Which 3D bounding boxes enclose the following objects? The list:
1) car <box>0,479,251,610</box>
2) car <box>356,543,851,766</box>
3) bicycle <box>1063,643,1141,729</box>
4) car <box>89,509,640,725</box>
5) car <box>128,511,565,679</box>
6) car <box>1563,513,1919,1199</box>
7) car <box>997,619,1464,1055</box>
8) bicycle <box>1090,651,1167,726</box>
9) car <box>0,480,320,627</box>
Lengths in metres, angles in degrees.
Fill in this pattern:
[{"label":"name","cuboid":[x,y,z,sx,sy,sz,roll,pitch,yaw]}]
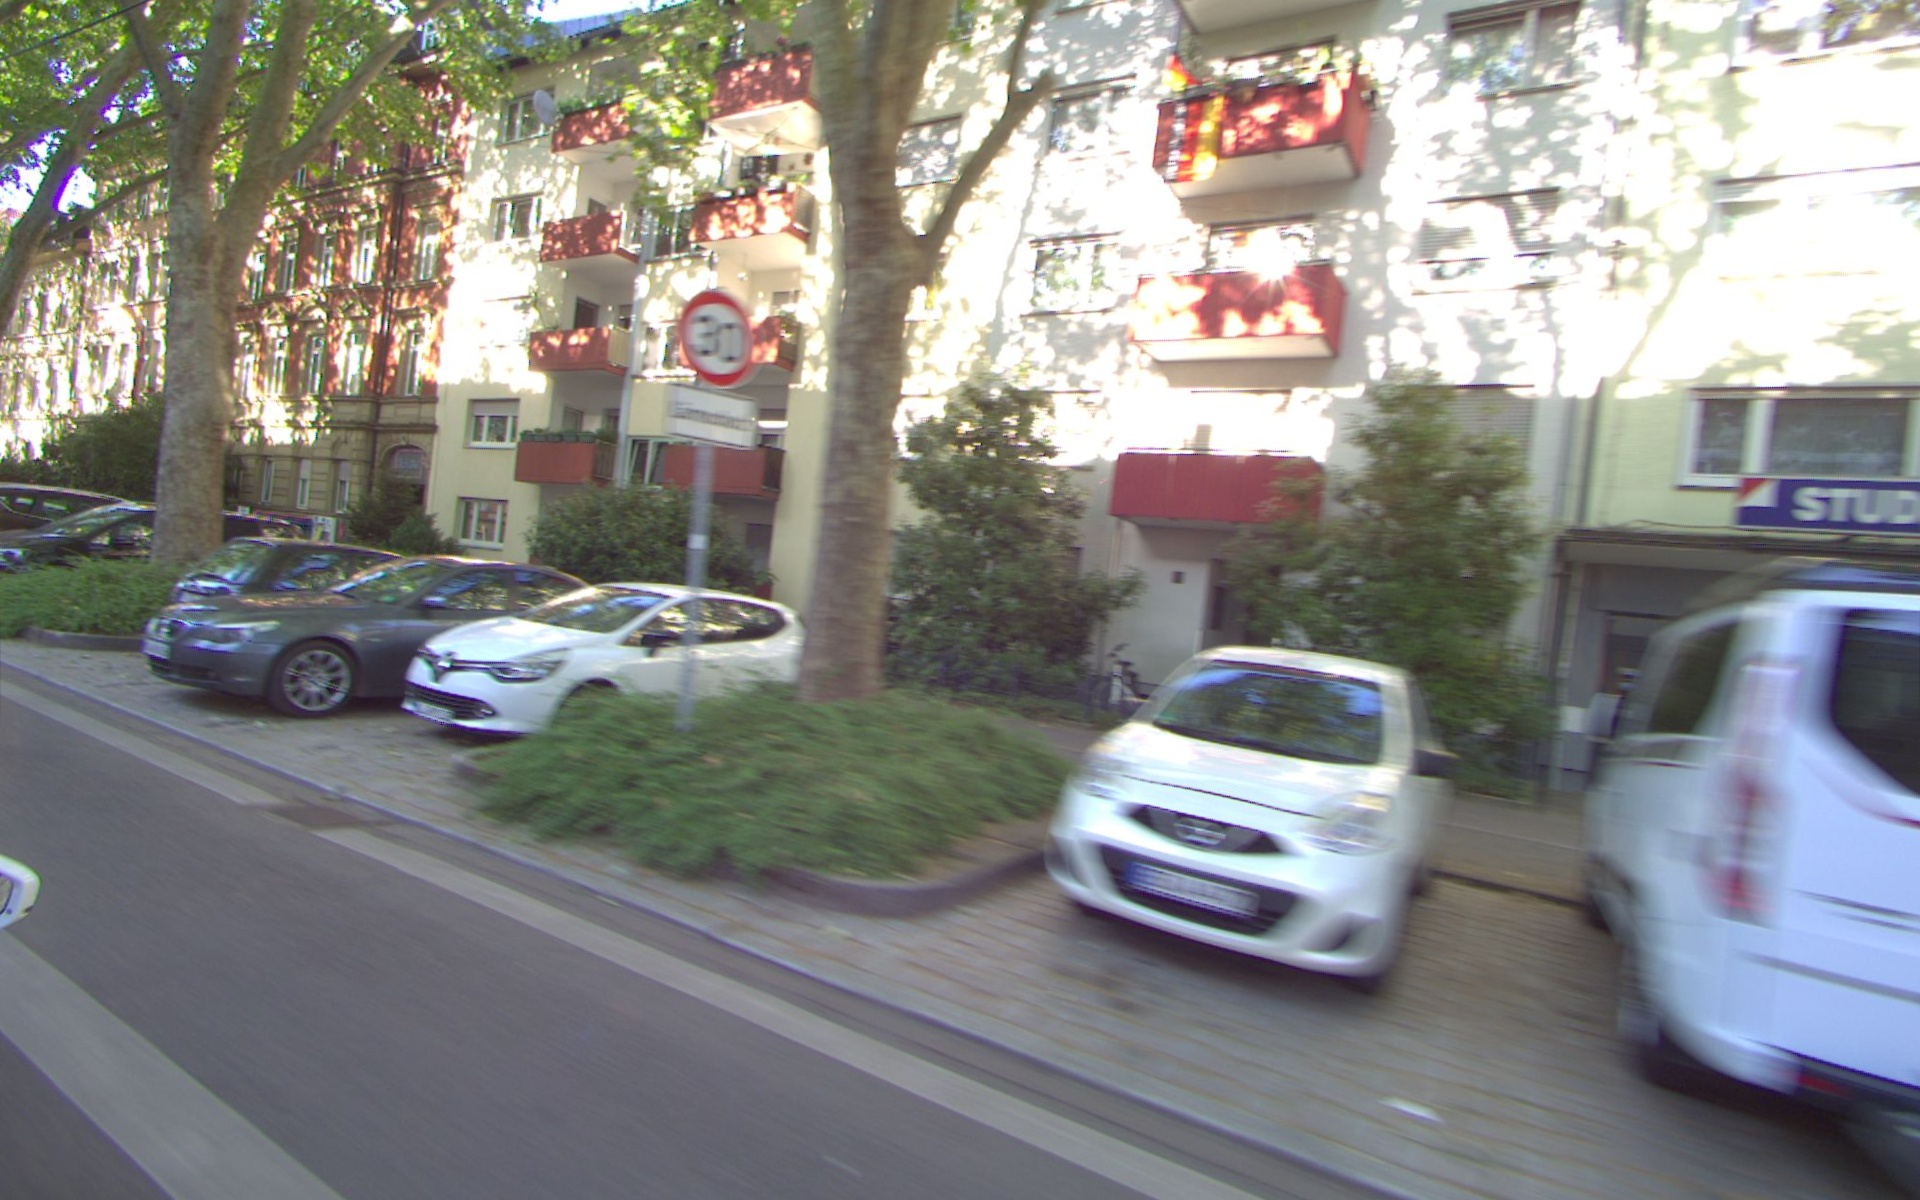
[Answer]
[{"label":"car","cuboid":[-14.115,-0.897,16.175,1.694,1.700,3.993,7,-1,30]},{"label":"car","cuboid":[-3.081,0.521,9.546,1.891,1.497,4.041,7,-1,31]},{"label":"bicycle","cuboid":[2.216,1.289,15.502,0.562,1.171,1.948,6,1,24]},{"label":"car","cuboid":[-5.476,0.239,9.847,1.898,1.532,4.149,7,-1,30]},{"label":"car","cuboid":[-7.001,0.050,11.936,1.731,1.532,3.993,7,-1,30]},{"label":"car","cuboid":[4.220,1.026,4.751,1.966,2.101,4.552,7,-1,29]},{"label":"car","cuboid":[1.912,1.054,5.983,1.694,1.497,3.905,7,-1,28]},{"label":"bicycle","cuboid":[2.739,1.394,16.249,0.607,1.055,1.793,7,1,27]},{"label":"car","cuboid":[-12.261,-0.652,14.886,1.817,1.686,4.241,7,-1,30]}]
